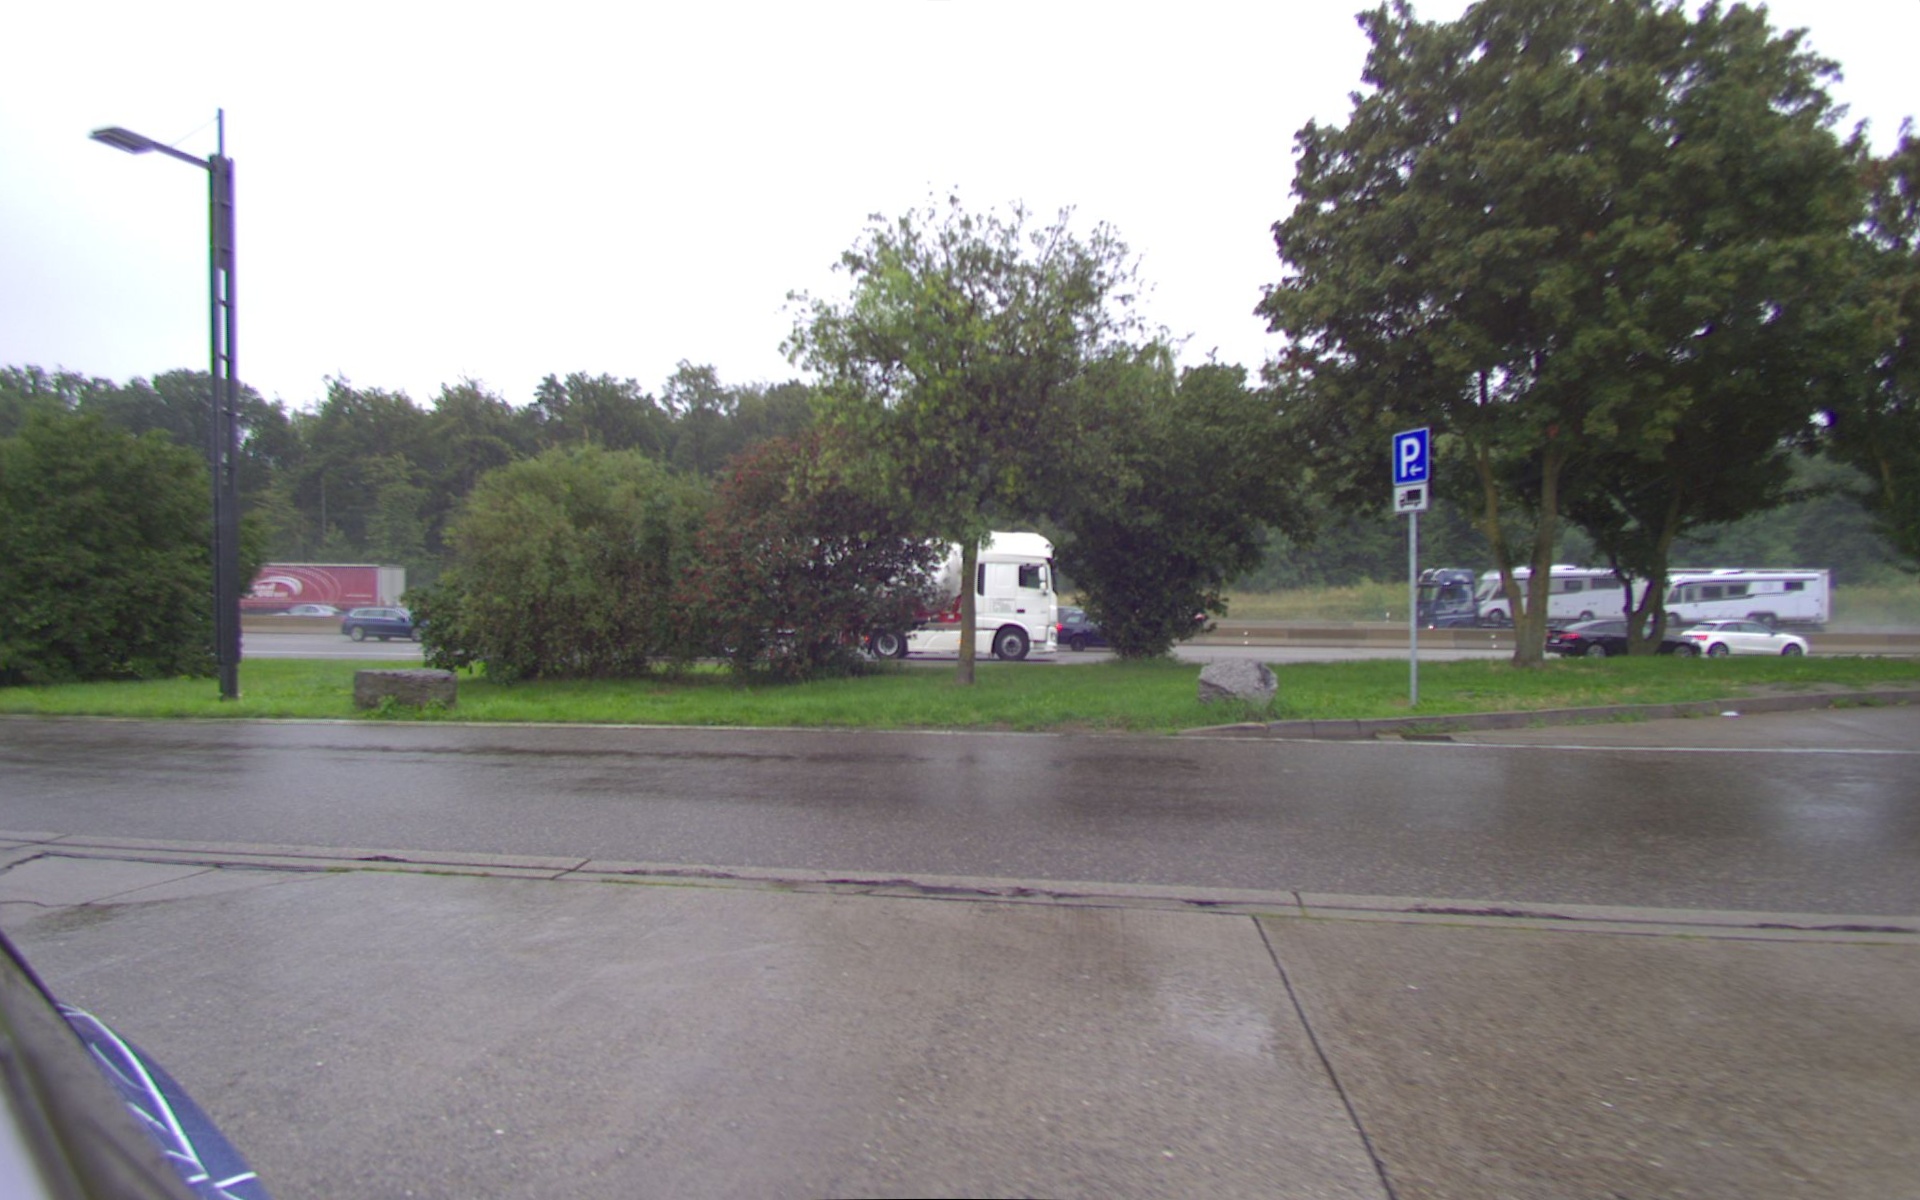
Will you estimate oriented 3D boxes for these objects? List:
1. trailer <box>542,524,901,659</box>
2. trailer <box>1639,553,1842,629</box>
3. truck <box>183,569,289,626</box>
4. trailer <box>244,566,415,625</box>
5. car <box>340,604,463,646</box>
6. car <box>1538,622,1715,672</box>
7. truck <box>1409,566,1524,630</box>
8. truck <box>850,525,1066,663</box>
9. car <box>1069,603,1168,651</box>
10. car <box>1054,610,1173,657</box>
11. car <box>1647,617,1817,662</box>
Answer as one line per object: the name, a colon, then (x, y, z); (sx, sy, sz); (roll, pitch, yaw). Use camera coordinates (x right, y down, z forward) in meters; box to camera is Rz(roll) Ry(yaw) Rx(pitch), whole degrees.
trailer: (-7.513, -0.238, 32.351); (10.911, 4.057, 2.764); (0, -1, 8)
trailer: (40.279, -0.475, 52.397); (8.422, 3.680, 2.237); (-1, 3, 3)
truck: (-49.360, -0.211, 69.050); (5.736, 3.646, 2.442); (-1, 3, 10)
trailer: (-42.193, -0.307, 67.743); (10.620, 3.640, 2.458); (-1, 3, 10)
car: (-23.618, 1.066, 42.880); (4.351, 1.681, 1.820); (-1, -1, 6)
car: (21.842, 1.513, 33.317); (4.447, 1.492, 1.882); (1, 0, 6)
truck: (26.529, -0.134, 53.135); (4.867, 3.181, 2.246); (-1, 3, 2)
truck: (0.046, -0.165, 31.384); (6.429, 4.039, 2.753); (0, -1, 7)
car: (6.615, 1.113, 42.493); (3.954, 1.889, 2.001); (-1, 0, 8)
car: (5.802, 1.269, 38.474); (4.354, 1.681, 1.819); (1, -1, 9)
car: (27.777, 1.397, 36.553); (4.452, 1.492, 1.880); (1, 0, 10)
